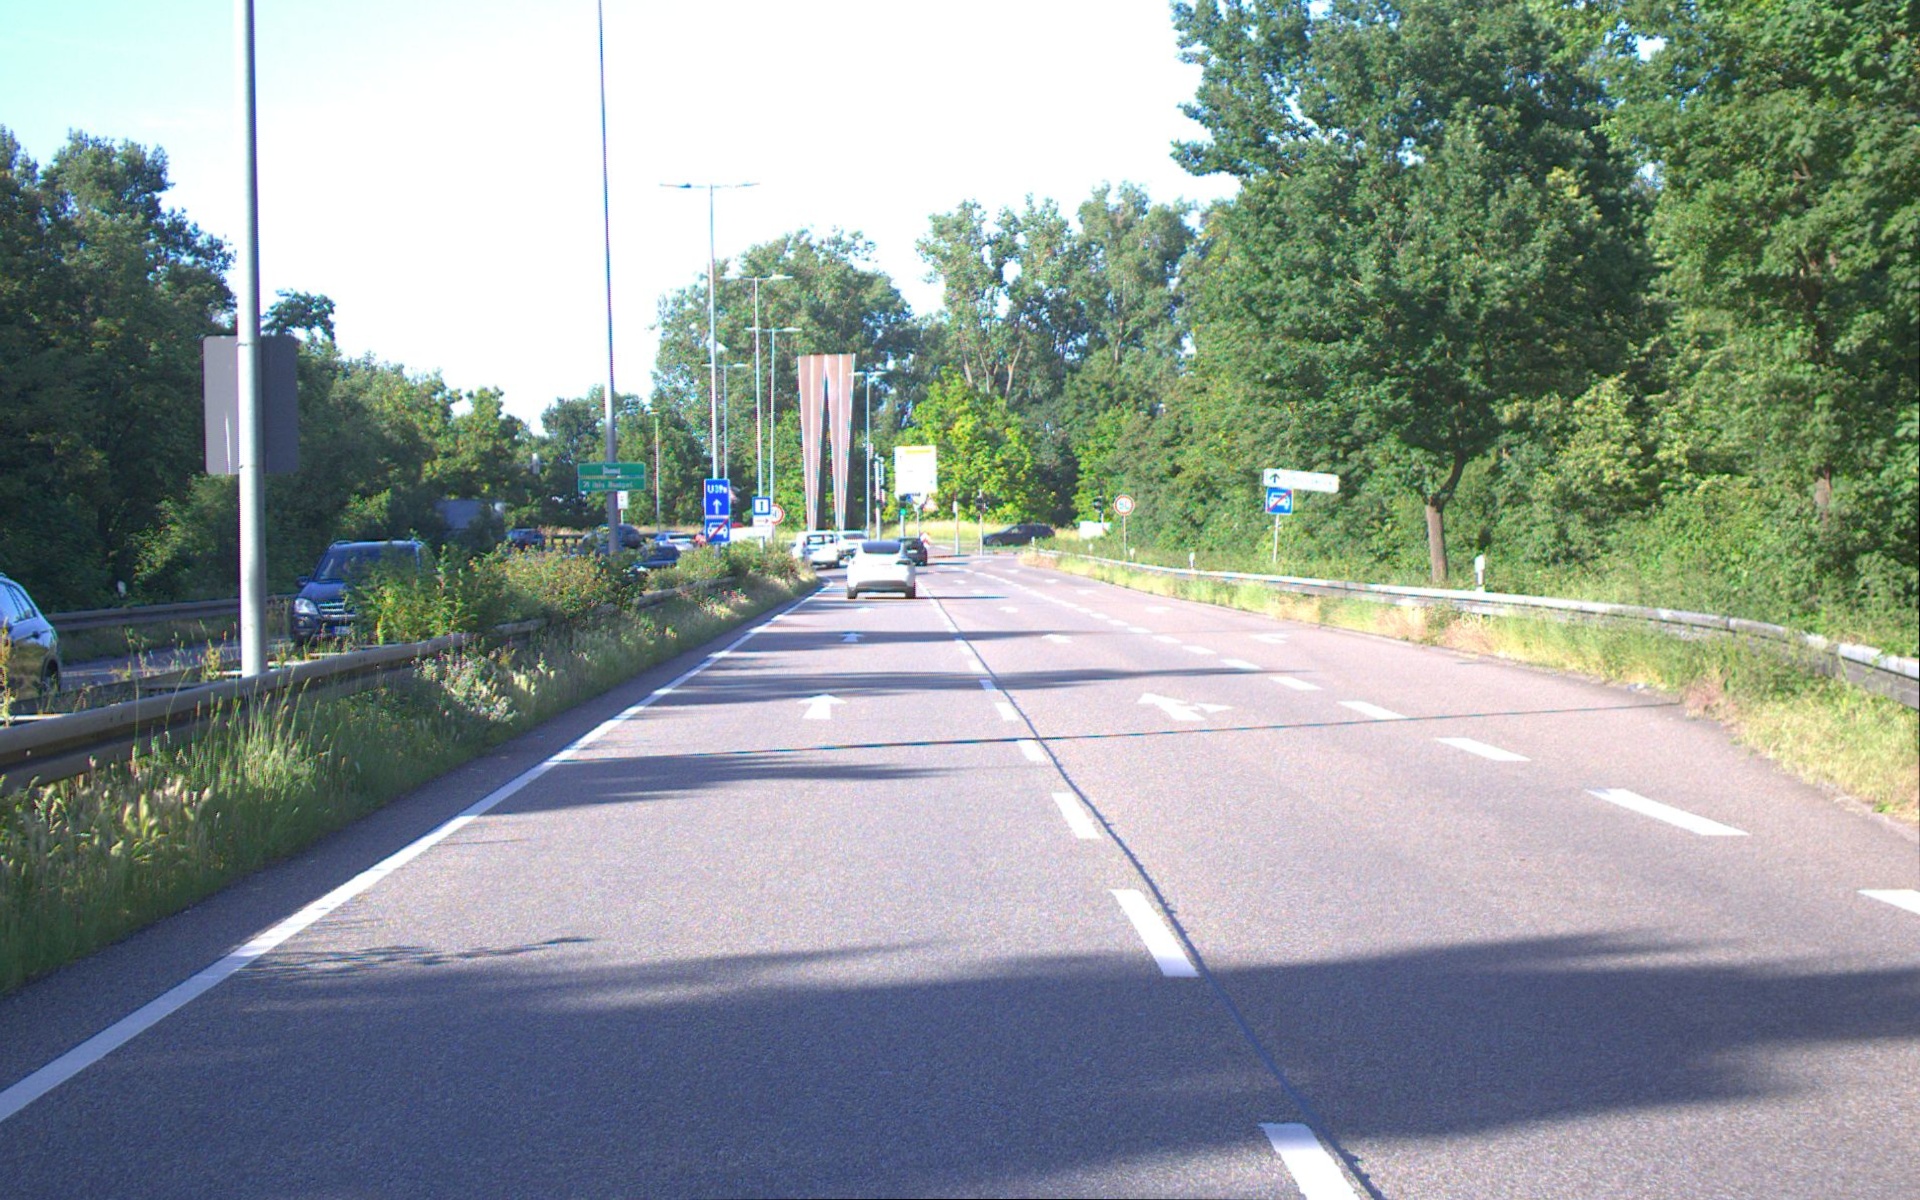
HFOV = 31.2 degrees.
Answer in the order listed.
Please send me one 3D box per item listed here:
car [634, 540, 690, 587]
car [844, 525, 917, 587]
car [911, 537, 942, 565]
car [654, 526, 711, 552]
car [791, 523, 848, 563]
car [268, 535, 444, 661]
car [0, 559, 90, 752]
[{"bbox_3d":[-11.171,-1.399,129.089,1.785,1.704,4.547,-1,1,-1],"label":"car"},{"bbox_3d":[-2.251,-1.261,97.320,1.993,1.634,4.129,-1,2,-1],"label":"car"},{"bbox_3d":[-1.629,-2.386,166.834,1.388,1.276,2.987,2,0,-1],"label":"car"},{"bbox_3d":[-16.339,-3.592,202.530,2.265,1.503,4.001,-1,1,-21],"label":"car"},{"bbox_3d":[-6.936,-2.821,169.384,1.993,1.873,4.250,-2,2,-14],"label":"car"},{"bbox_3d":[-8.927,-0.070,51.179,1.841,1.751,4.712,-1,1,-1],"label":"car"},{"bbox_3d":[-8.527,0.463,28.047,1.618,1.525,4.608,-1,1,1],"label":"car"}]
